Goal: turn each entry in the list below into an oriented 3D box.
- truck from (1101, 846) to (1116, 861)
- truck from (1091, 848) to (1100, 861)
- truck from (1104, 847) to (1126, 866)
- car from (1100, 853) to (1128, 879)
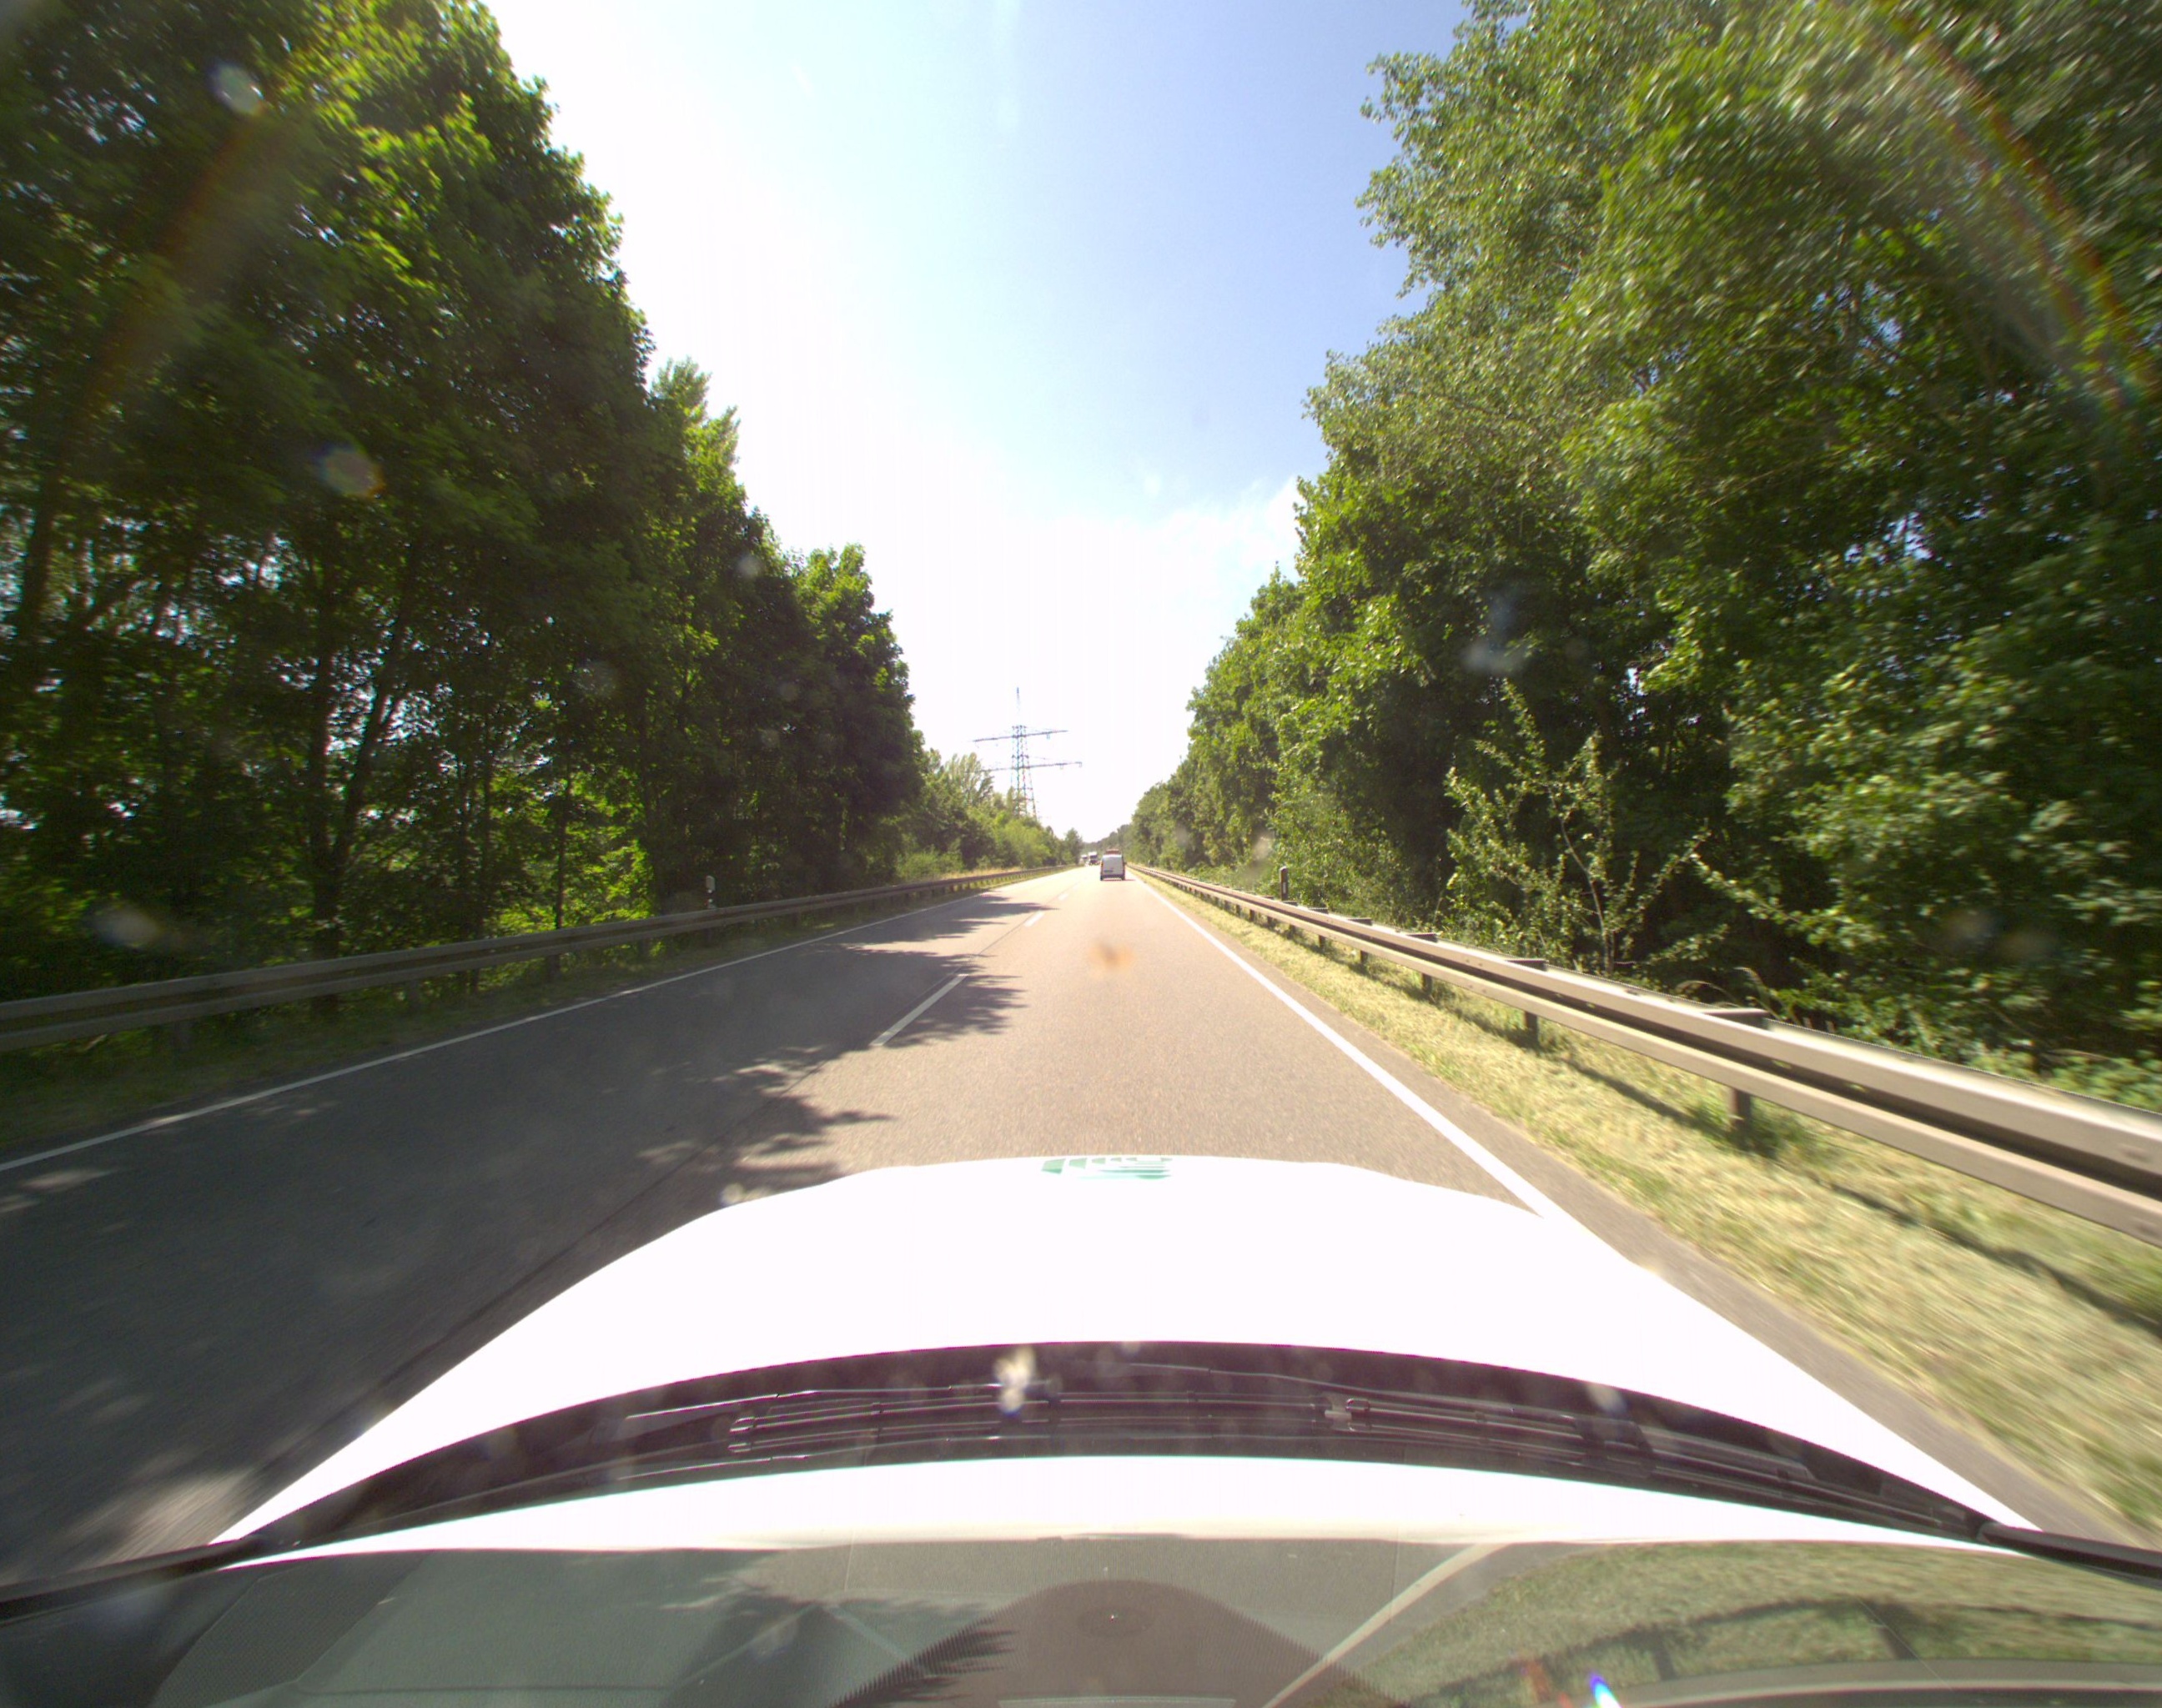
[{"bbox_3d":[7.503,-0.235,223.040,3.391,3.854,16.814,-1,1,0],"label":"truck"},{"bbox_3d":[4.605,0.243,258.233,2.752,3.999,5.909,-1,-1,2],"label":"truck"},{"bbox_3d":[6.084,0.383,148.970,3.286,3.172,14.402,-1,1,0],"label":"truck"},{"bbox_3d":[2.324,0.796,57.636,1.868,1.741,4.002,-1,0,2],"label":"car"}]
